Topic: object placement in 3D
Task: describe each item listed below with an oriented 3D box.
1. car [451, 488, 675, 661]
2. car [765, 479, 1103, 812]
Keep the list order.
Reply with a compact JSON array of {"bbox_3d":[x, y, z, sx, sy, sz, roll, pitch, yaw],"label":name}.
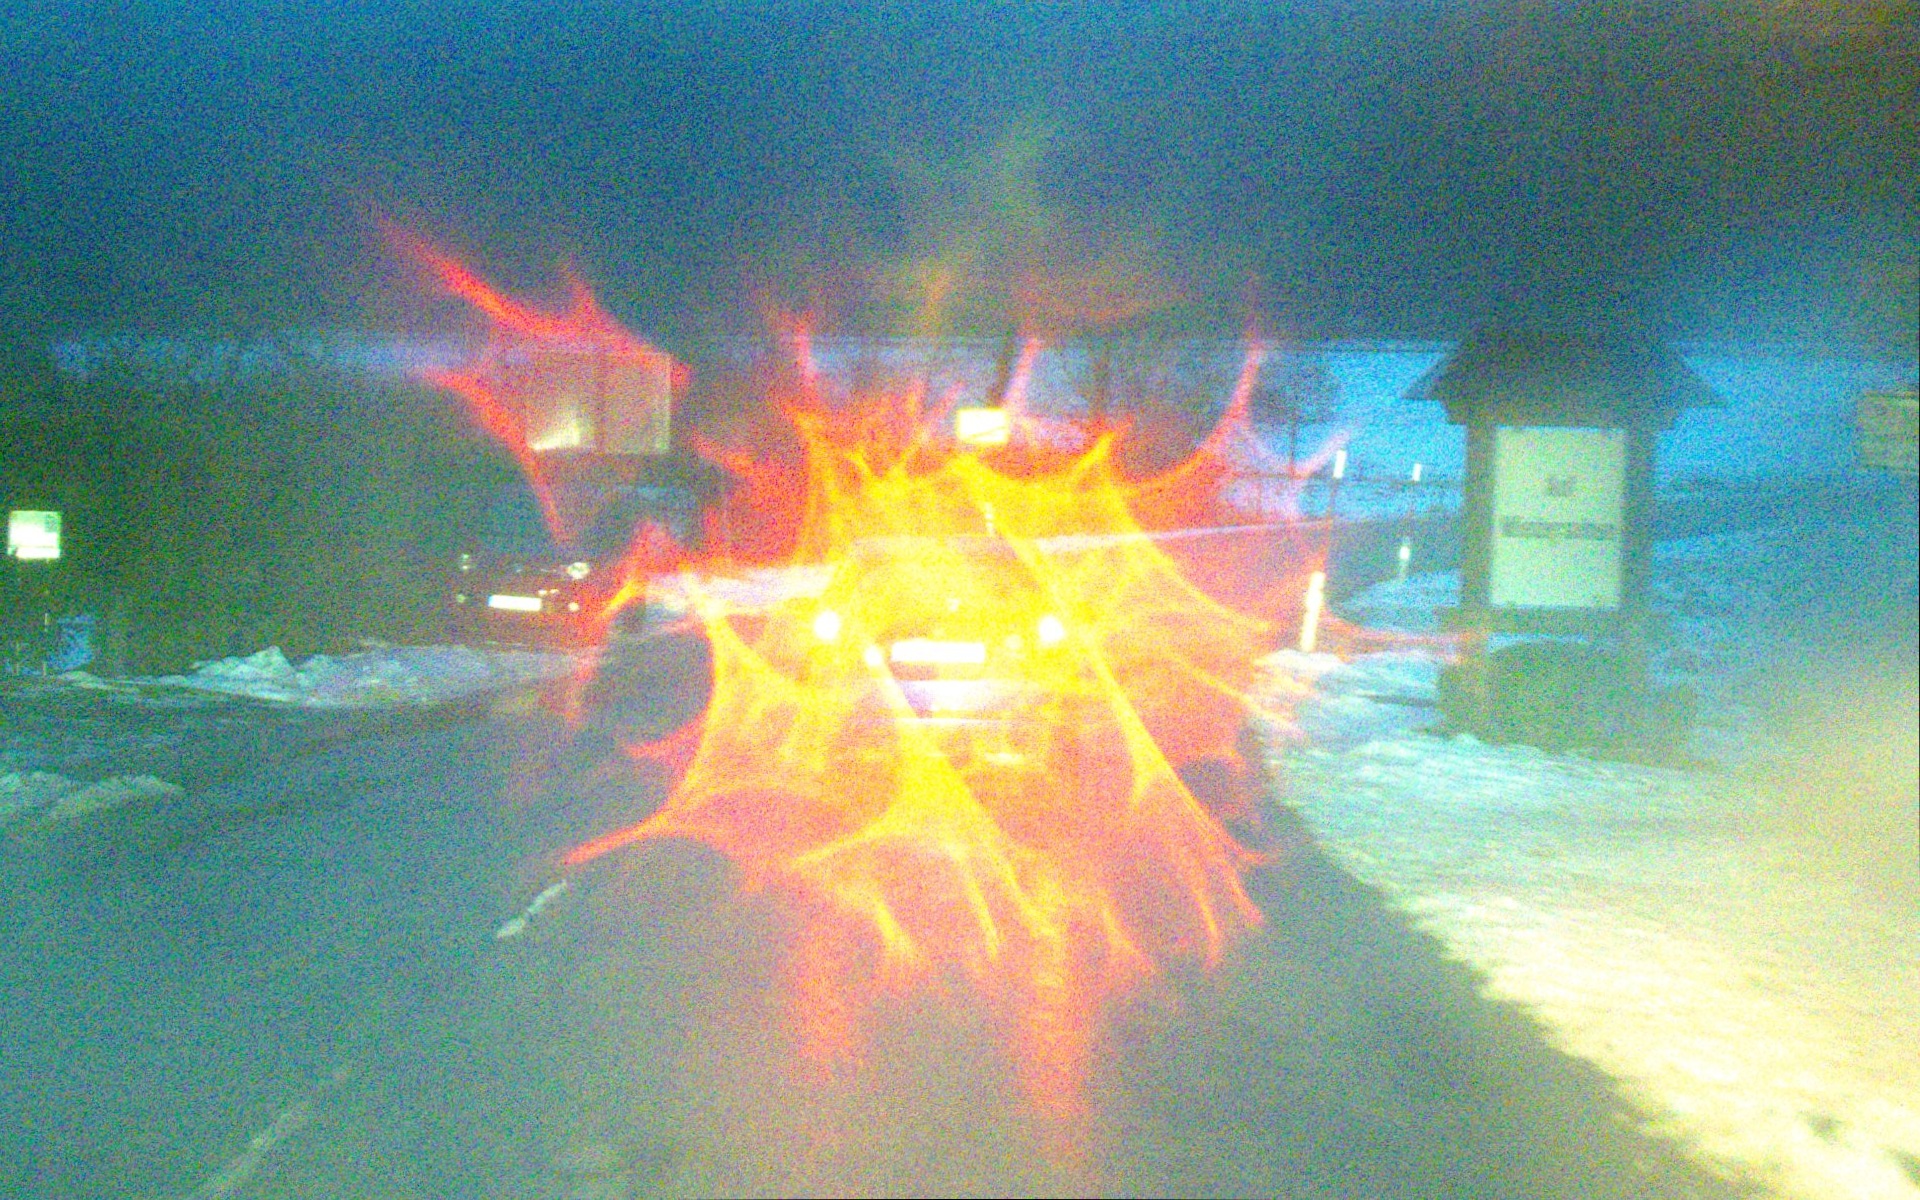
[{"bbox_3d":[-4.083,-0.314,35.835,1.718,1.529,3.517,2,4,3],"label":"car"},{"bbox_3d":[-0.191,0.223,21.076,1.822,1.790,3.578,-2,1,-1],"label":"car"}]
